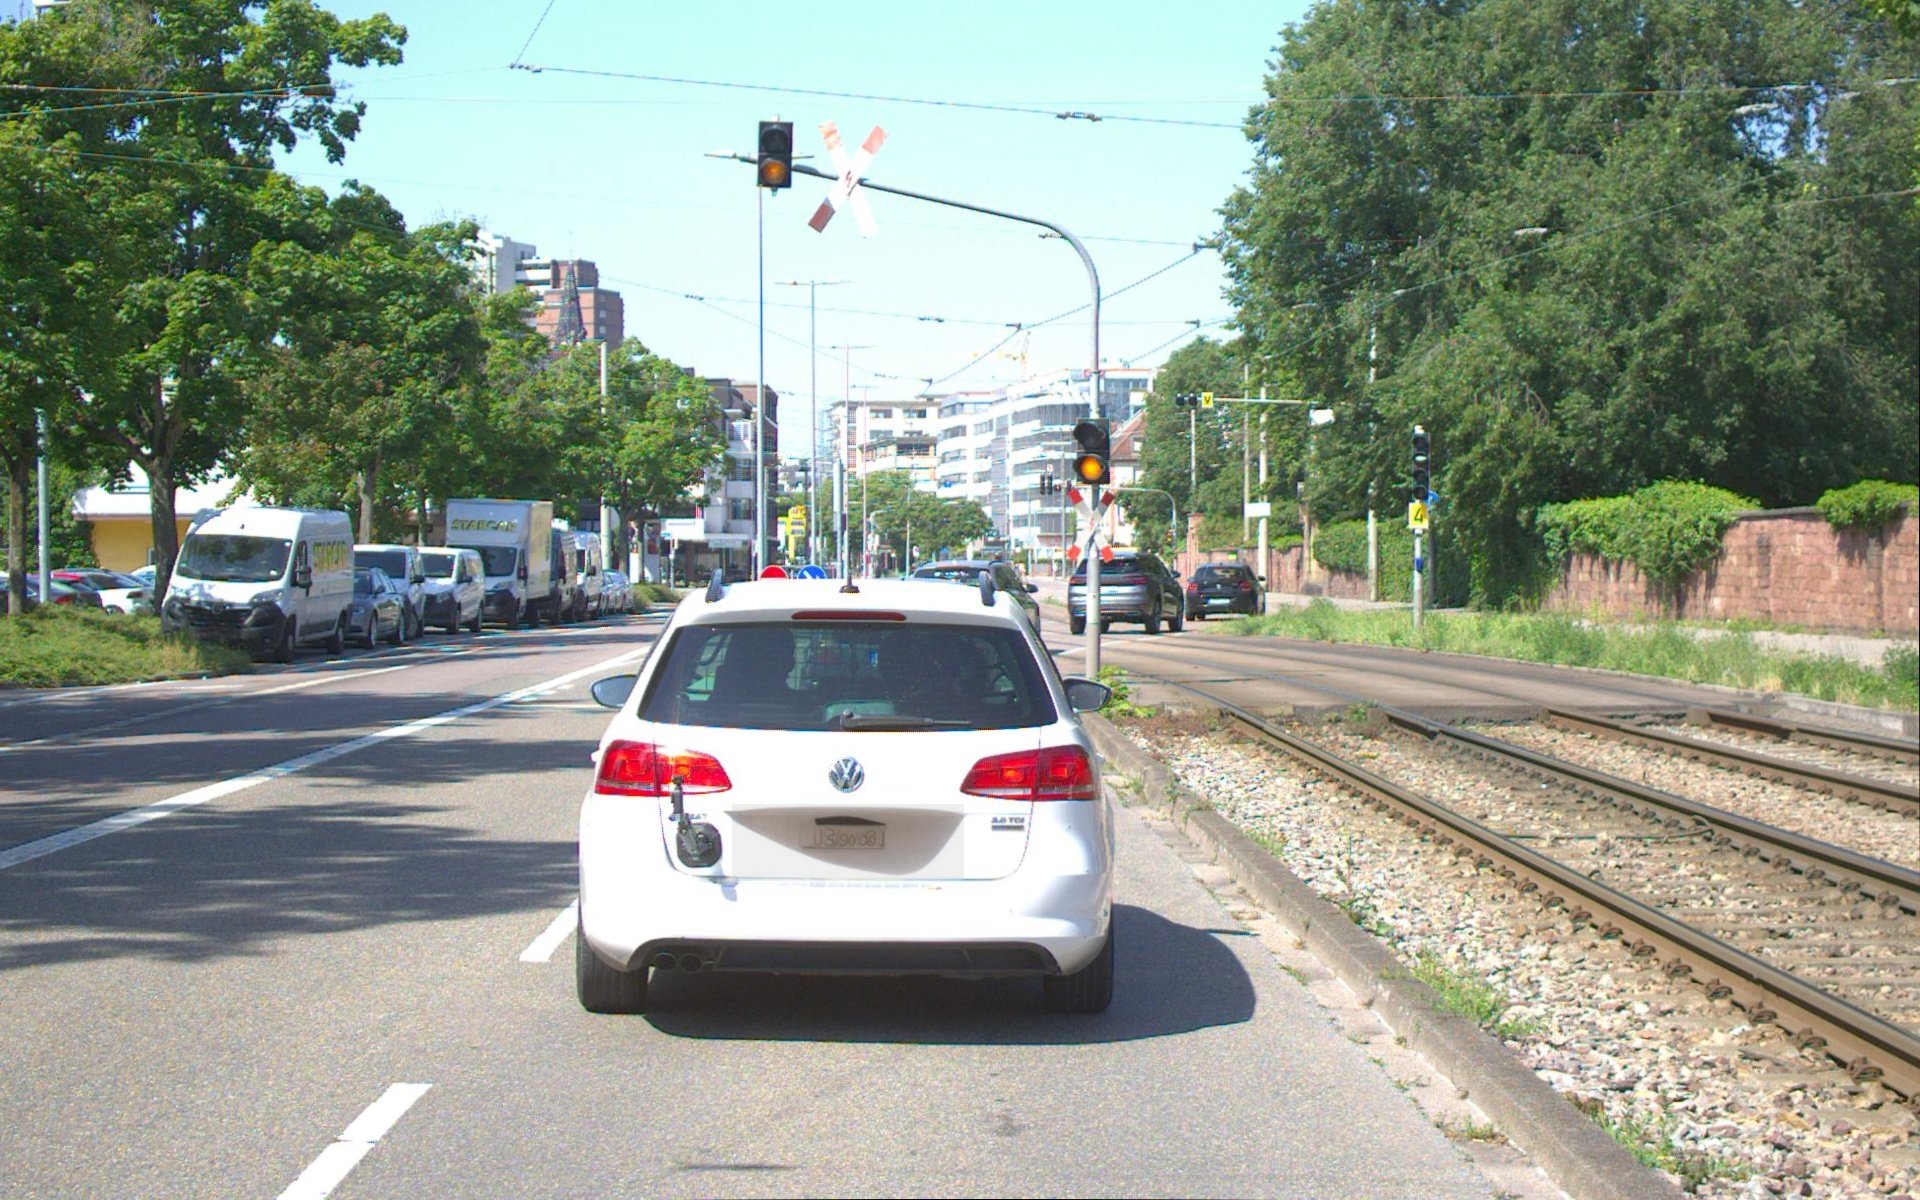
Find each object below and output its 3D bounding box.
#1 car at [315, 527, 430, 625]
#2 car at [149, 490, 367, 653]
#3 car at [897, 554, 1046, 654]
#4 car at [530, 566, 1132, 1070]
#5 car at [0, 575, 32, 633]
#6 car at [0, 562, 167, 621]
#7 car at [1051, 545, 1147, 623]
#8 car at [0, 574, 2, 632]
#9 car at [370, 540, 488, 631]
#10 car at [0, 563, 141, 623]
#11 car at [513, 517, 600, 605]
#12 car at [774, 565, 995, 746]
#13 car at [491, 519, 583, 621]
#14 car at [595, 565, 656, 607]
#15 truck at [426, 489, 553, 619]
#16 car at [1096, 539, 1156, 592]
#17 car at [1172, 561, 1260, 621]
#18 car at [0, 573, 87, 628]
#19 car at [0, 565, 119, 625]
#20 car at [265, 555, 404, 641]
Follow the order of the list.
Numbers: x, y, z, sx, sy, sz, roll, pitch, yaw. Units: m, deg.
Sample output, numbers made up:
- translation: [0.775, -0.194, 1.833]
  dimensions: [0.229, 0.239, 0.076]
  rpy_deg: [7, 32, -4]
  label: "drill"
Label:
- translation: [-12.105, -0.515, 71.065]
  dimensions: [1.843, 1.930, 5.195]
  rpy_deg: [-1, 1, -4]
  label: "car"
- translation: [-11.647, -0.501, 57.518]
  dimensions: [2.059, 2.492, 6.307]
  rpy_deg: [2, 1, 2]
  label: "car"
- translation: [0.216, 0.029, 52.776]
  dimensions: [1.861, 1.412, 4.324]
  rpy_deg: [2, 1, 5]
  label: "car"
- translation: [-0.433, 0.638, 12.296]
  dimensions: [1.768, 1.441, 3.913]
  rpy_deg: [2, 1, -1]
  label: "car"
- translation: [-22.401, 0.090, 74.644]
  dimensions: [3.987, 1.221, 1.771]
  rpy_deg: [0, 1, 2]
  label: "car"
- translation: [-22.238, -0.214, 86.779]
  dimensions: [3.987, 1.439, 1.771]
  rpy_deg: [0, 1, 2]
  label: "car"
- translation: [2.891, -0.338, 70.916]
  dimensions: [1.861, 1.508, 3.913]
  rpy_deg: [2, 1, 4]
  label: "car"
- translation: [-22.337, 0.085, 72.068]
  dimensions: [3.987, 1.221, 1.771]
  rpy_deg: [0, 1, 2]
  label: "car"
- translation: [-11.853, -0.342, 77.050]
  dimensions: [1.843, 1.954, 5.134]
  rpy_deg: [-1, 1, 0]
  label: "car"
- translation: [-22.295, -0.172, 84.234]
  dimensions: [3.987, 1.439, 1.771]
  rpy_deg: [0, 1, 2]
  label: "car"
- translation: [-11.861, -1.160, 101.359]
  dimensions: [1.843, 2.486, 5.856]
  rpy_deg: [-1, 1, 0]
  label: "car"
- translation: [-0.624, 0.427, 29.598]
  dimensions: [1.746, 1.383, 3.913]
  rpy_deg: [2, 1, 0]
  label: "car"
- translation: [-11.449, -0.824, 93.260]
  dimensions: [1.843, 2.659, 5.003]
  rpy_deg: [-1, 1, 0]
  label: "car"
- translation: [-11.830, -0.495, 121.745]
  dimensions: [1.780, 1.428, 4.038]
  rpy_deg: [-1, 1, -1]
  label: "car"
- translation: [-11.717, -1.154, 86.073]
  dimensions: [2.356, 3.112, 6.892]
  rpy_deg: [-1, 1, -1]
  label: "truck"
- translation: [8.122, -1.654, 168.776]
  dimensions: [2.463, 2.490, 5.910]
  rpy_deg: [2, 0, -1]
  label: "car"
- translation: [6.395, -0.241, 85.523]
  dimensions: [1.746, 1.403, 3.911]
  rpy_deg: [2, 1, 10]
  label: "car"
- translation: [-22.326, 0.017, 79.096]
  dimensions: [3.987, 1.221, 1.771]
  rpy_deg: [0, 1, 2]
  label: "car"
- translation: [-22.230, -0.119, 81.731]
  dimensions: [3.987, 1.397, 1.771]
  rpy_deg: [0, 1, 2]
  label: "car"
- translation: [-11.590, -0.064, 63.966]
  dimensions: [1.843, 1.511, 4.197]
  rpy_deg: [-1, 1, -1]
  label: "car"
